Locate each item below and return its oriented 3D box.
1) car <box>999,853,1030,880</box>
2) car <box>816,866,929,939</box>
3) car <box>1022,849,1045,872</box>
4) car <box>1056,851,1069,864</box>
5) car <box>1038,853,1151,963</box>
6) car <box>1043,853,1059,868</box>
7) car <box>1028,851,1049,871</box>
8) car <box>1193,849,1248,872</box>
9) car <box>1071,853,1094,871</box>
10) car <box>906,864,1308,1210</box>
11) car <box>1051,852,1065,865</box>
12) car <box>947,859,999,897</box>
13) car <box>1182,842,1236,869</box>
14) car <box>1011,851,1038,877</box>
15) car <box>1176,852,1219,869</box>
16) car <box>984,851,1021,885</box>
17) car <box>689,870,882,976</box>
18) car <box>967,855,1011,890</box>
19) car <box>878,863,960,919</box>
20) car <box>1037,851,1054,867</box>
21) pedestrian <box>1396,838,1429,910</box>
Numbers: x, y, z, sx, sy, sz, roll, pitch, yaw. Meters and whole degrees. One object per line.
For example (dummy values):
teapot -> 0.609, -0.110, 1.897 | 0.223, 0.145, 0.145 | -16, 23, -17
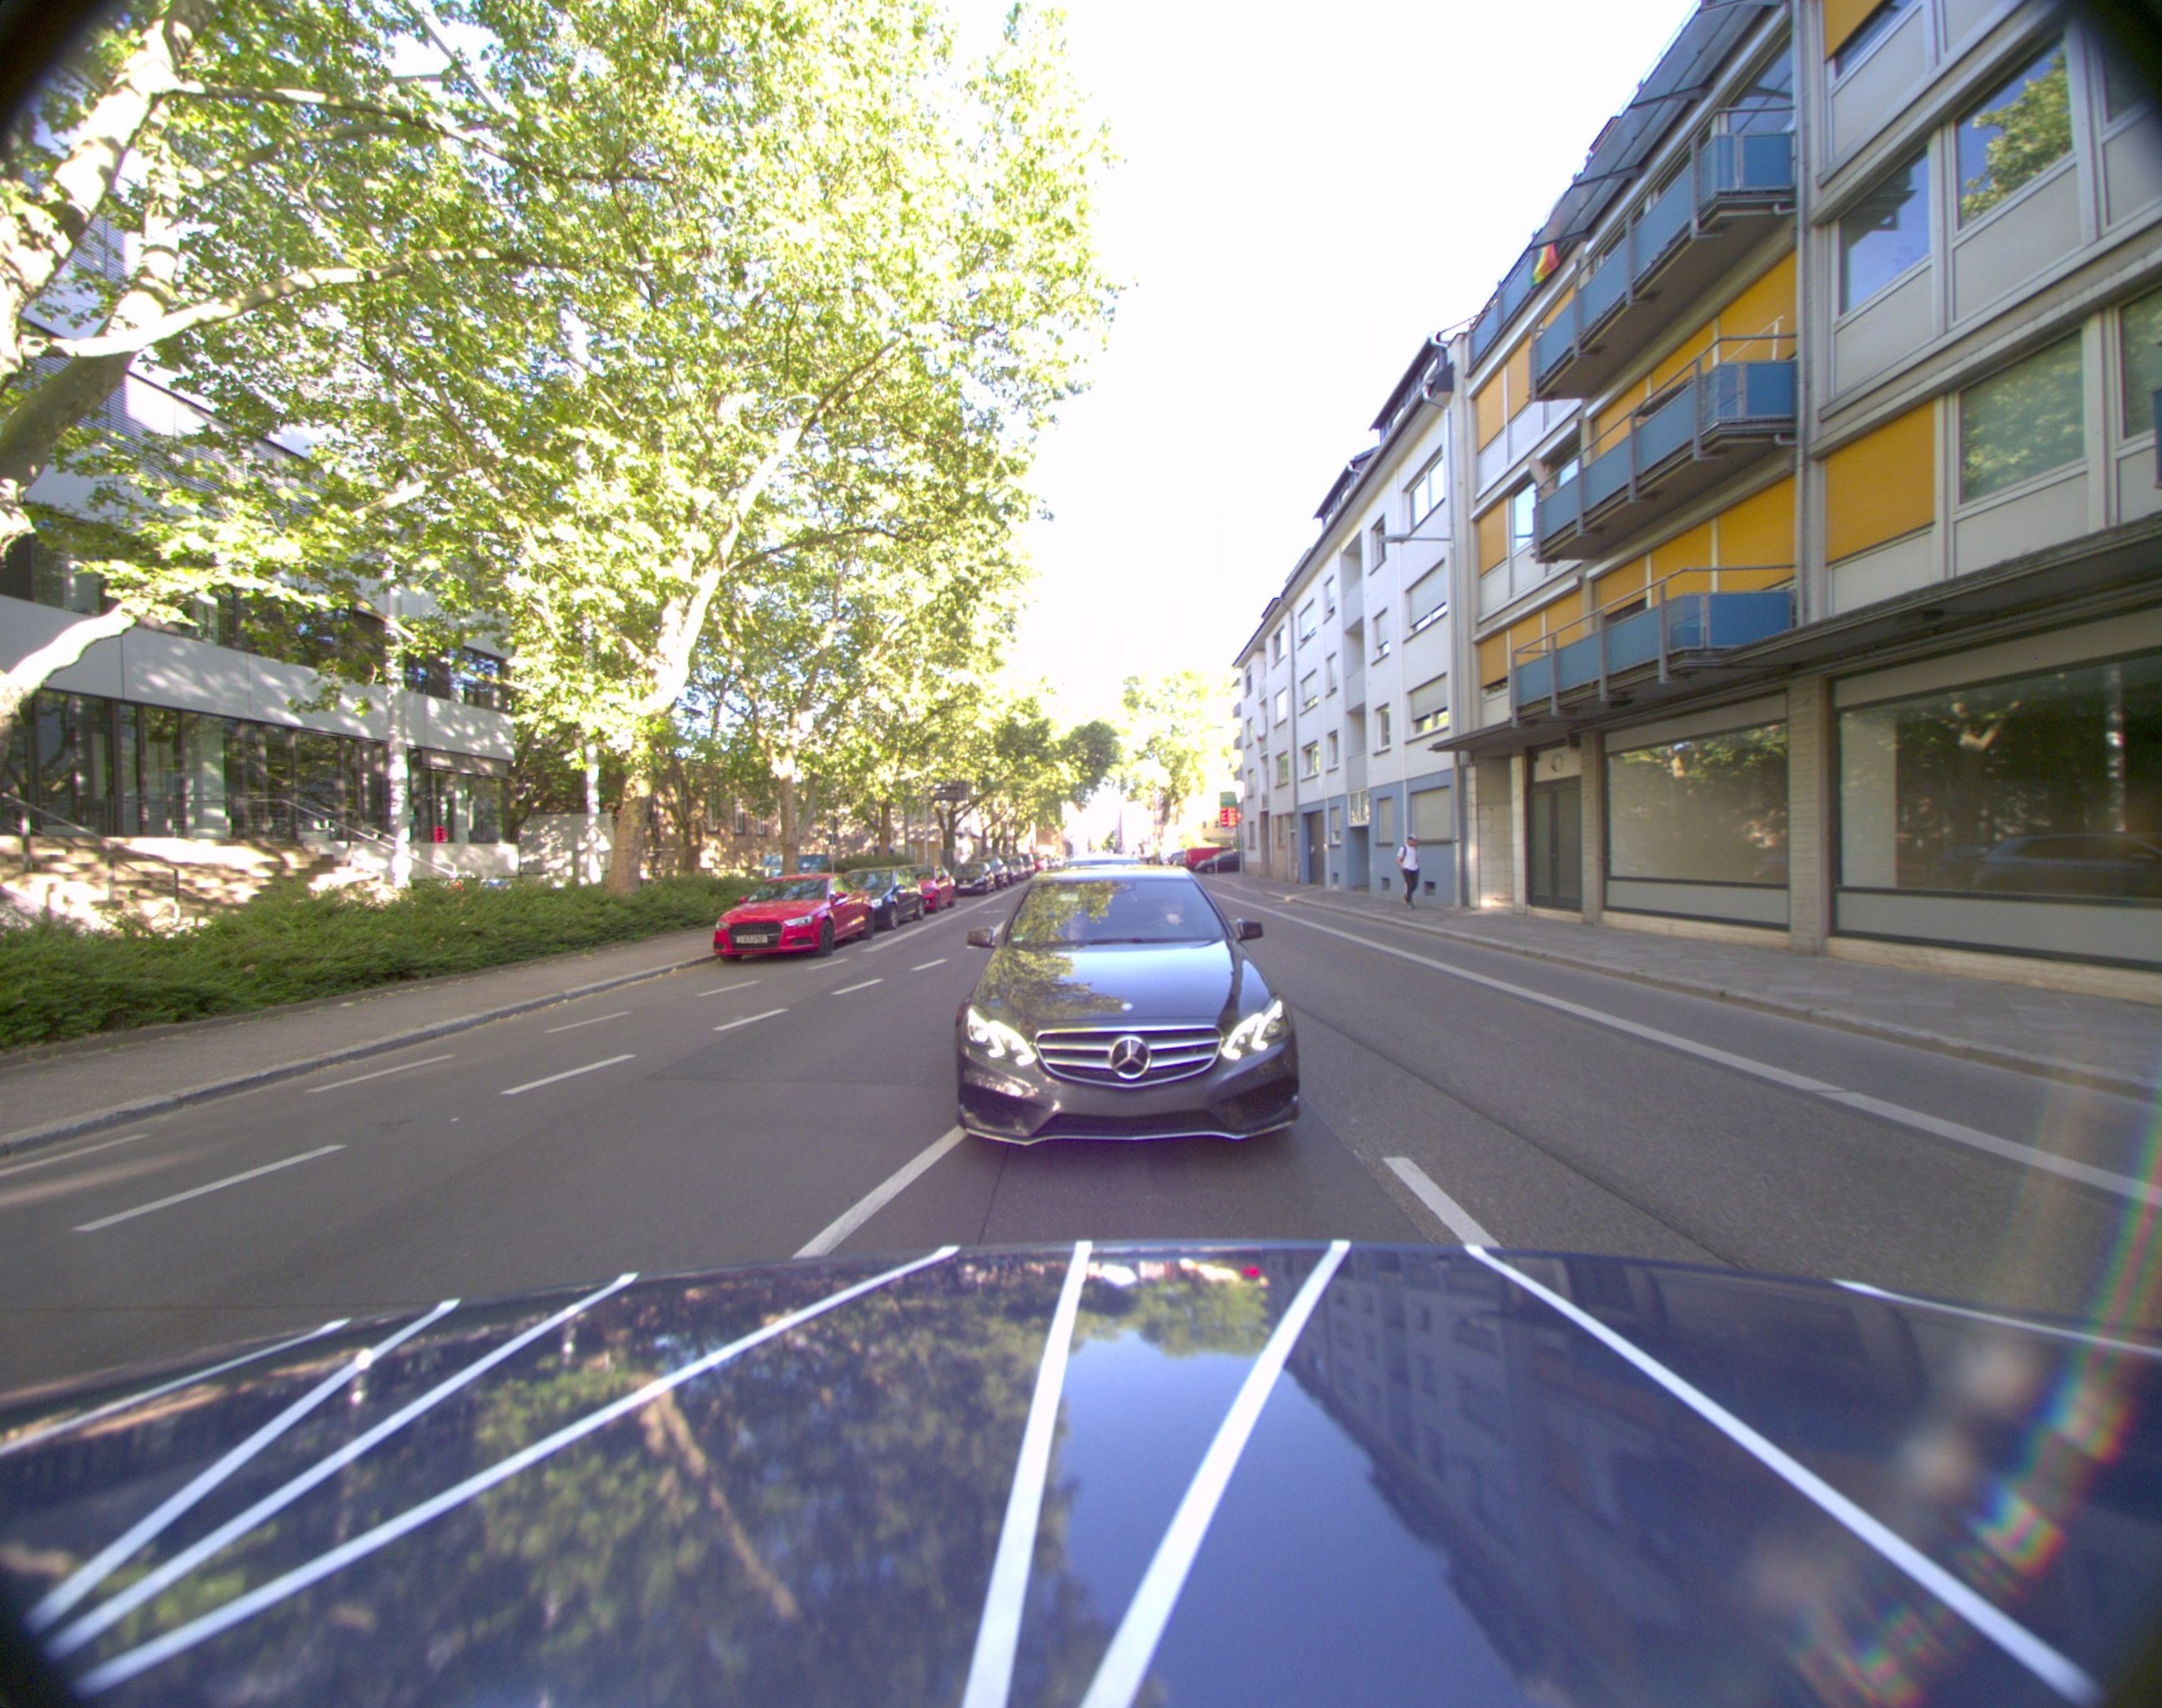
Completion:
car -> -4.429, 0.792, 50.946 | 1.635, 1.644, 3.845 | -3, 0, 1
car -> -5.001, 1.102, 18.720 | 1.635, 1.455, 3.740 | -3, 0, 1
car -> -4.141, 0.505, 66.344 | 1.635, 1.878, 3.673 | -3, 0, 1
car -> -2.719, 0.495, 109.800 | 1.635, 1.713, 3.673 | -3, 0, 1
car -> 0.236, 0.841, 13.946 | 1.680, 1.622, 4.125 | -3, 0, 1
car -> -3.644, 0.742, 92.323 | 1.635, 1.713, 3.673 | -3, 0, 1
car -> -3.968, 0.620, 70.794 | 1.635, 1.713, 3.673 | -3, 0, 1
car -> 10.043, 0.450, 54.887 | 3.670, 1.403, 1.636 | -3, 0, 1
car -> 0.180, 0.662, 65.896 | 1.853, 1.455, 4.099 | -3, 0, 1
car -> 0.151, 0.886, 5.605 | 1.804, 1.455, 4.125 | -3, 0, 1
car -> -3.084, 0.587, 102.963 | 1.635, 1.713, 3.673 | -3, 0, 1
car -> -4.693, 1.022, 33.454 | 1.635, 1.455, 3.740 | -3, 0, 1
car -> 10.127, 0.147, 60.190 | 3.927, 1.912, 1.636 | -3, 1, 1
car -> -4.108, 0.716, 55.685 | 1.635, 1.799, 3.673 | -3, 0, 1
car -> 9.626, 0.509, 62.864 | 3.325, 1.241, 1.295 | -3, 1, 1
car -> -4.520, 0.762, 44.342 | 1.635, 1.795, 3.845 | -3, 0, 1
car -> -5.157, 1.128, 13.935 | 1.804, 1.455, 4.125 | -3, 0, 1
car -> -4.556, 0.890, 38.190 | 1.635, 1.578, 3.845 | -3, 0, 1
car -> -4.979, 1.090, 23.840 | 1.635, 1.455, 3.740 | -3, 0, 1
car -> -3.980, 0.570, 86.418 | 1.635, 1.713, 3.673 | -3, 0, 1
pedestrian -> 8.016, 0.478, 18.389 | 0.569, 1.716, 0.343 | -3, 1, 1
